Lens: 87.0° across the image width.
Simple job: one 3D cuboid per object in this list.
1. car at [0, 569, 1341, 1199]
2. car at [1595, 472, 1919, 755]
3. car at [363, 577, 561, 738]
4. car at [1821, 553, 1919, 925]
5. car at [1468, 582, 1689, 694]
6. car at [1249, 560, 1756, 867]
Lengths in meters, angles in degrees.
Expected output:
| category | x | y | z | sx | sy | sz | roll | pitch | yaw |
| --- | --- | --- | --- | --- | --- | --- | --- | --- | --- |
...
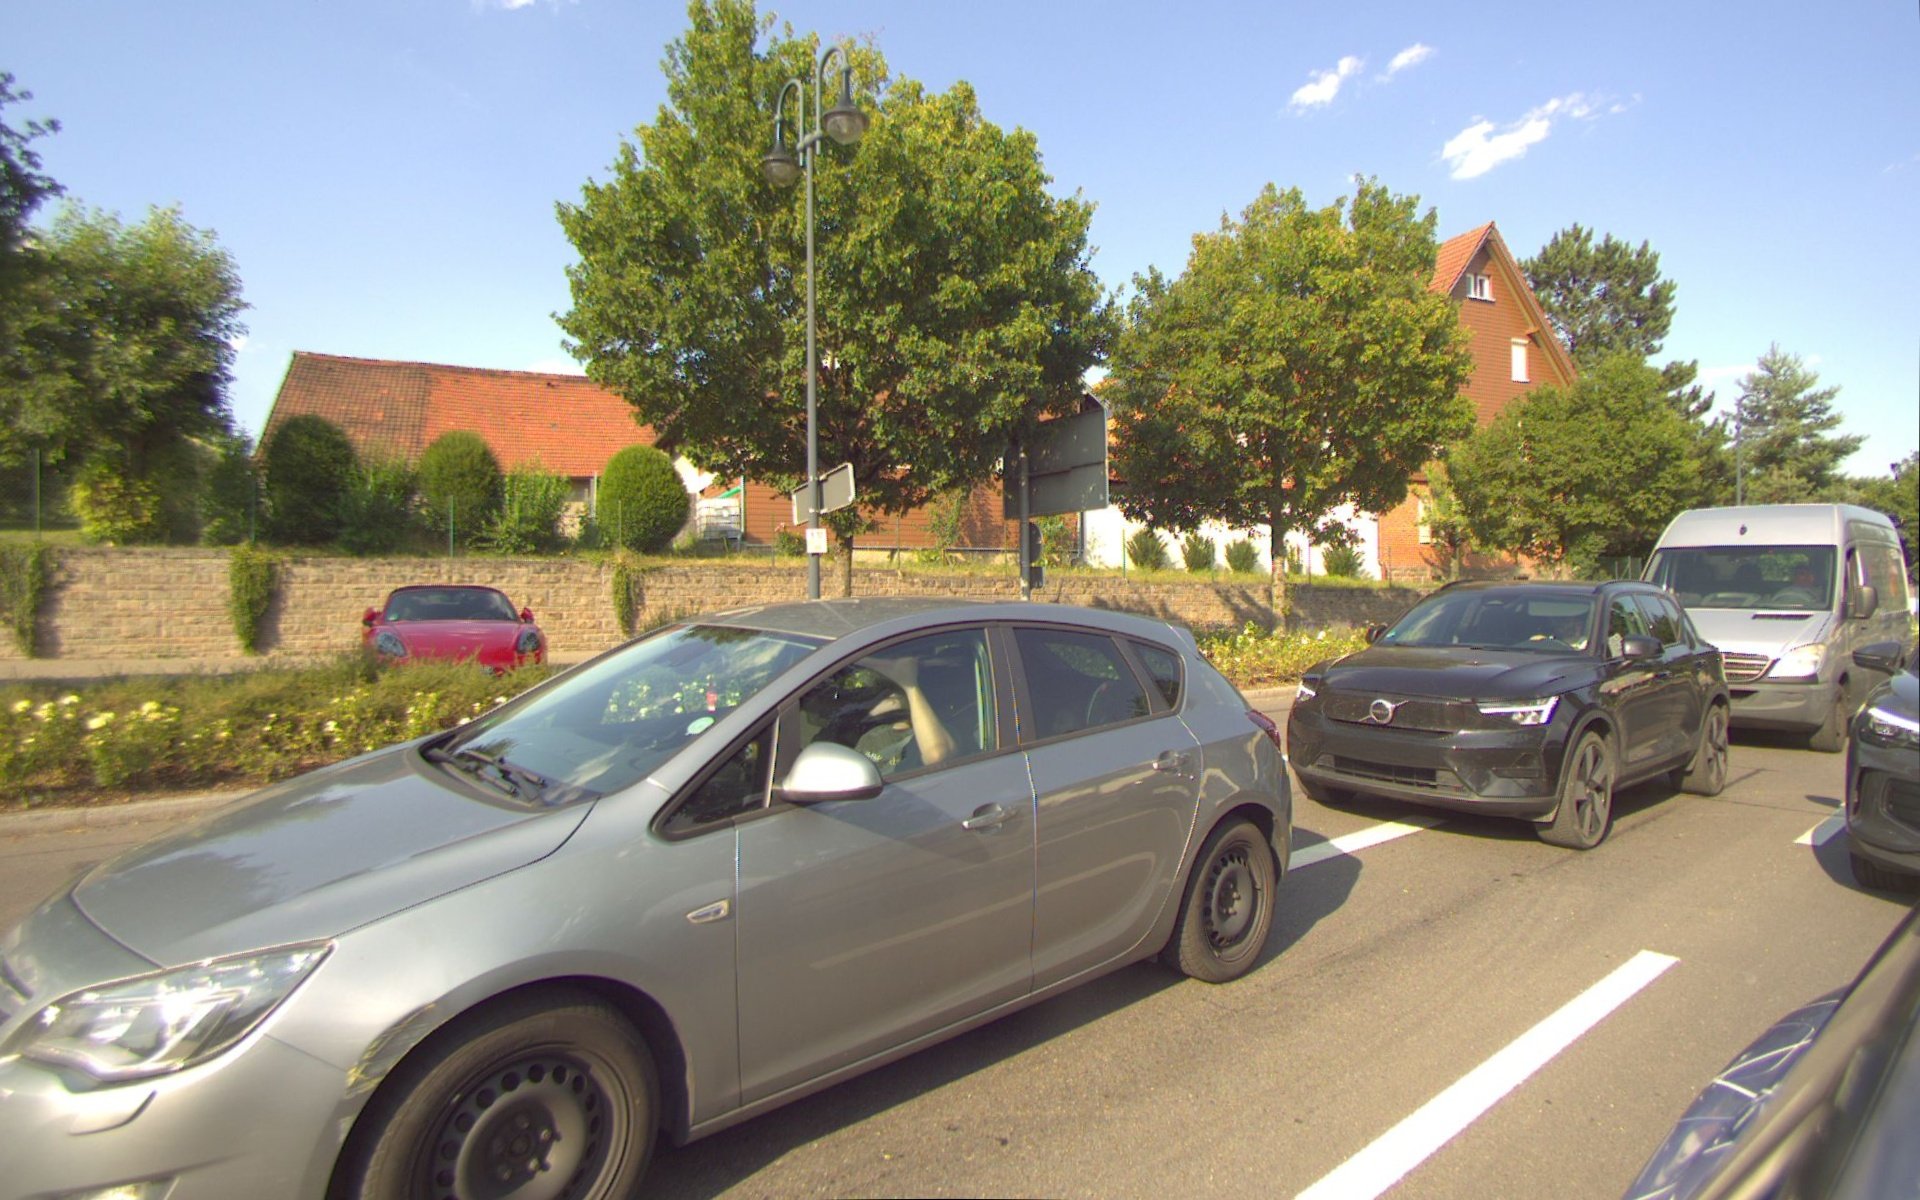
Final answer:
| category | x | y | z | sx | sy | sz | roll | pitch | yaw |
| --- | --- | --- | --- | --- | --- | --- | --- | --- | --- |
| car | -0.560 | 0.669 | 3.527 | 4.244 | 1.471 | 1.765 | 0 | 2 | -42 |
| car | 9.716 | 0.089 | 11.968 | 5.938 | 2.601 | 1.992 | 0 | 1 | -40 |
| car | -5.898 | 0.528 | 11.718 | 1.743 | 1.510 | 4.156 | 0 | 0 | -31 |
| car | 6.212 | 0.621 | 5.343 | 4.242 | 1.629 | 1.844 | 0 | 2 | -40 |
| car | 10.496 | 0.548 | 17.050 | 4.483 | 1.628 | 1.766 | 0 | 2 | -39 |
| car | 4.159 | 0.570 | 7.457 | 4.242 | 1.629 | 1.844 | 0 | 2 | -40 |
